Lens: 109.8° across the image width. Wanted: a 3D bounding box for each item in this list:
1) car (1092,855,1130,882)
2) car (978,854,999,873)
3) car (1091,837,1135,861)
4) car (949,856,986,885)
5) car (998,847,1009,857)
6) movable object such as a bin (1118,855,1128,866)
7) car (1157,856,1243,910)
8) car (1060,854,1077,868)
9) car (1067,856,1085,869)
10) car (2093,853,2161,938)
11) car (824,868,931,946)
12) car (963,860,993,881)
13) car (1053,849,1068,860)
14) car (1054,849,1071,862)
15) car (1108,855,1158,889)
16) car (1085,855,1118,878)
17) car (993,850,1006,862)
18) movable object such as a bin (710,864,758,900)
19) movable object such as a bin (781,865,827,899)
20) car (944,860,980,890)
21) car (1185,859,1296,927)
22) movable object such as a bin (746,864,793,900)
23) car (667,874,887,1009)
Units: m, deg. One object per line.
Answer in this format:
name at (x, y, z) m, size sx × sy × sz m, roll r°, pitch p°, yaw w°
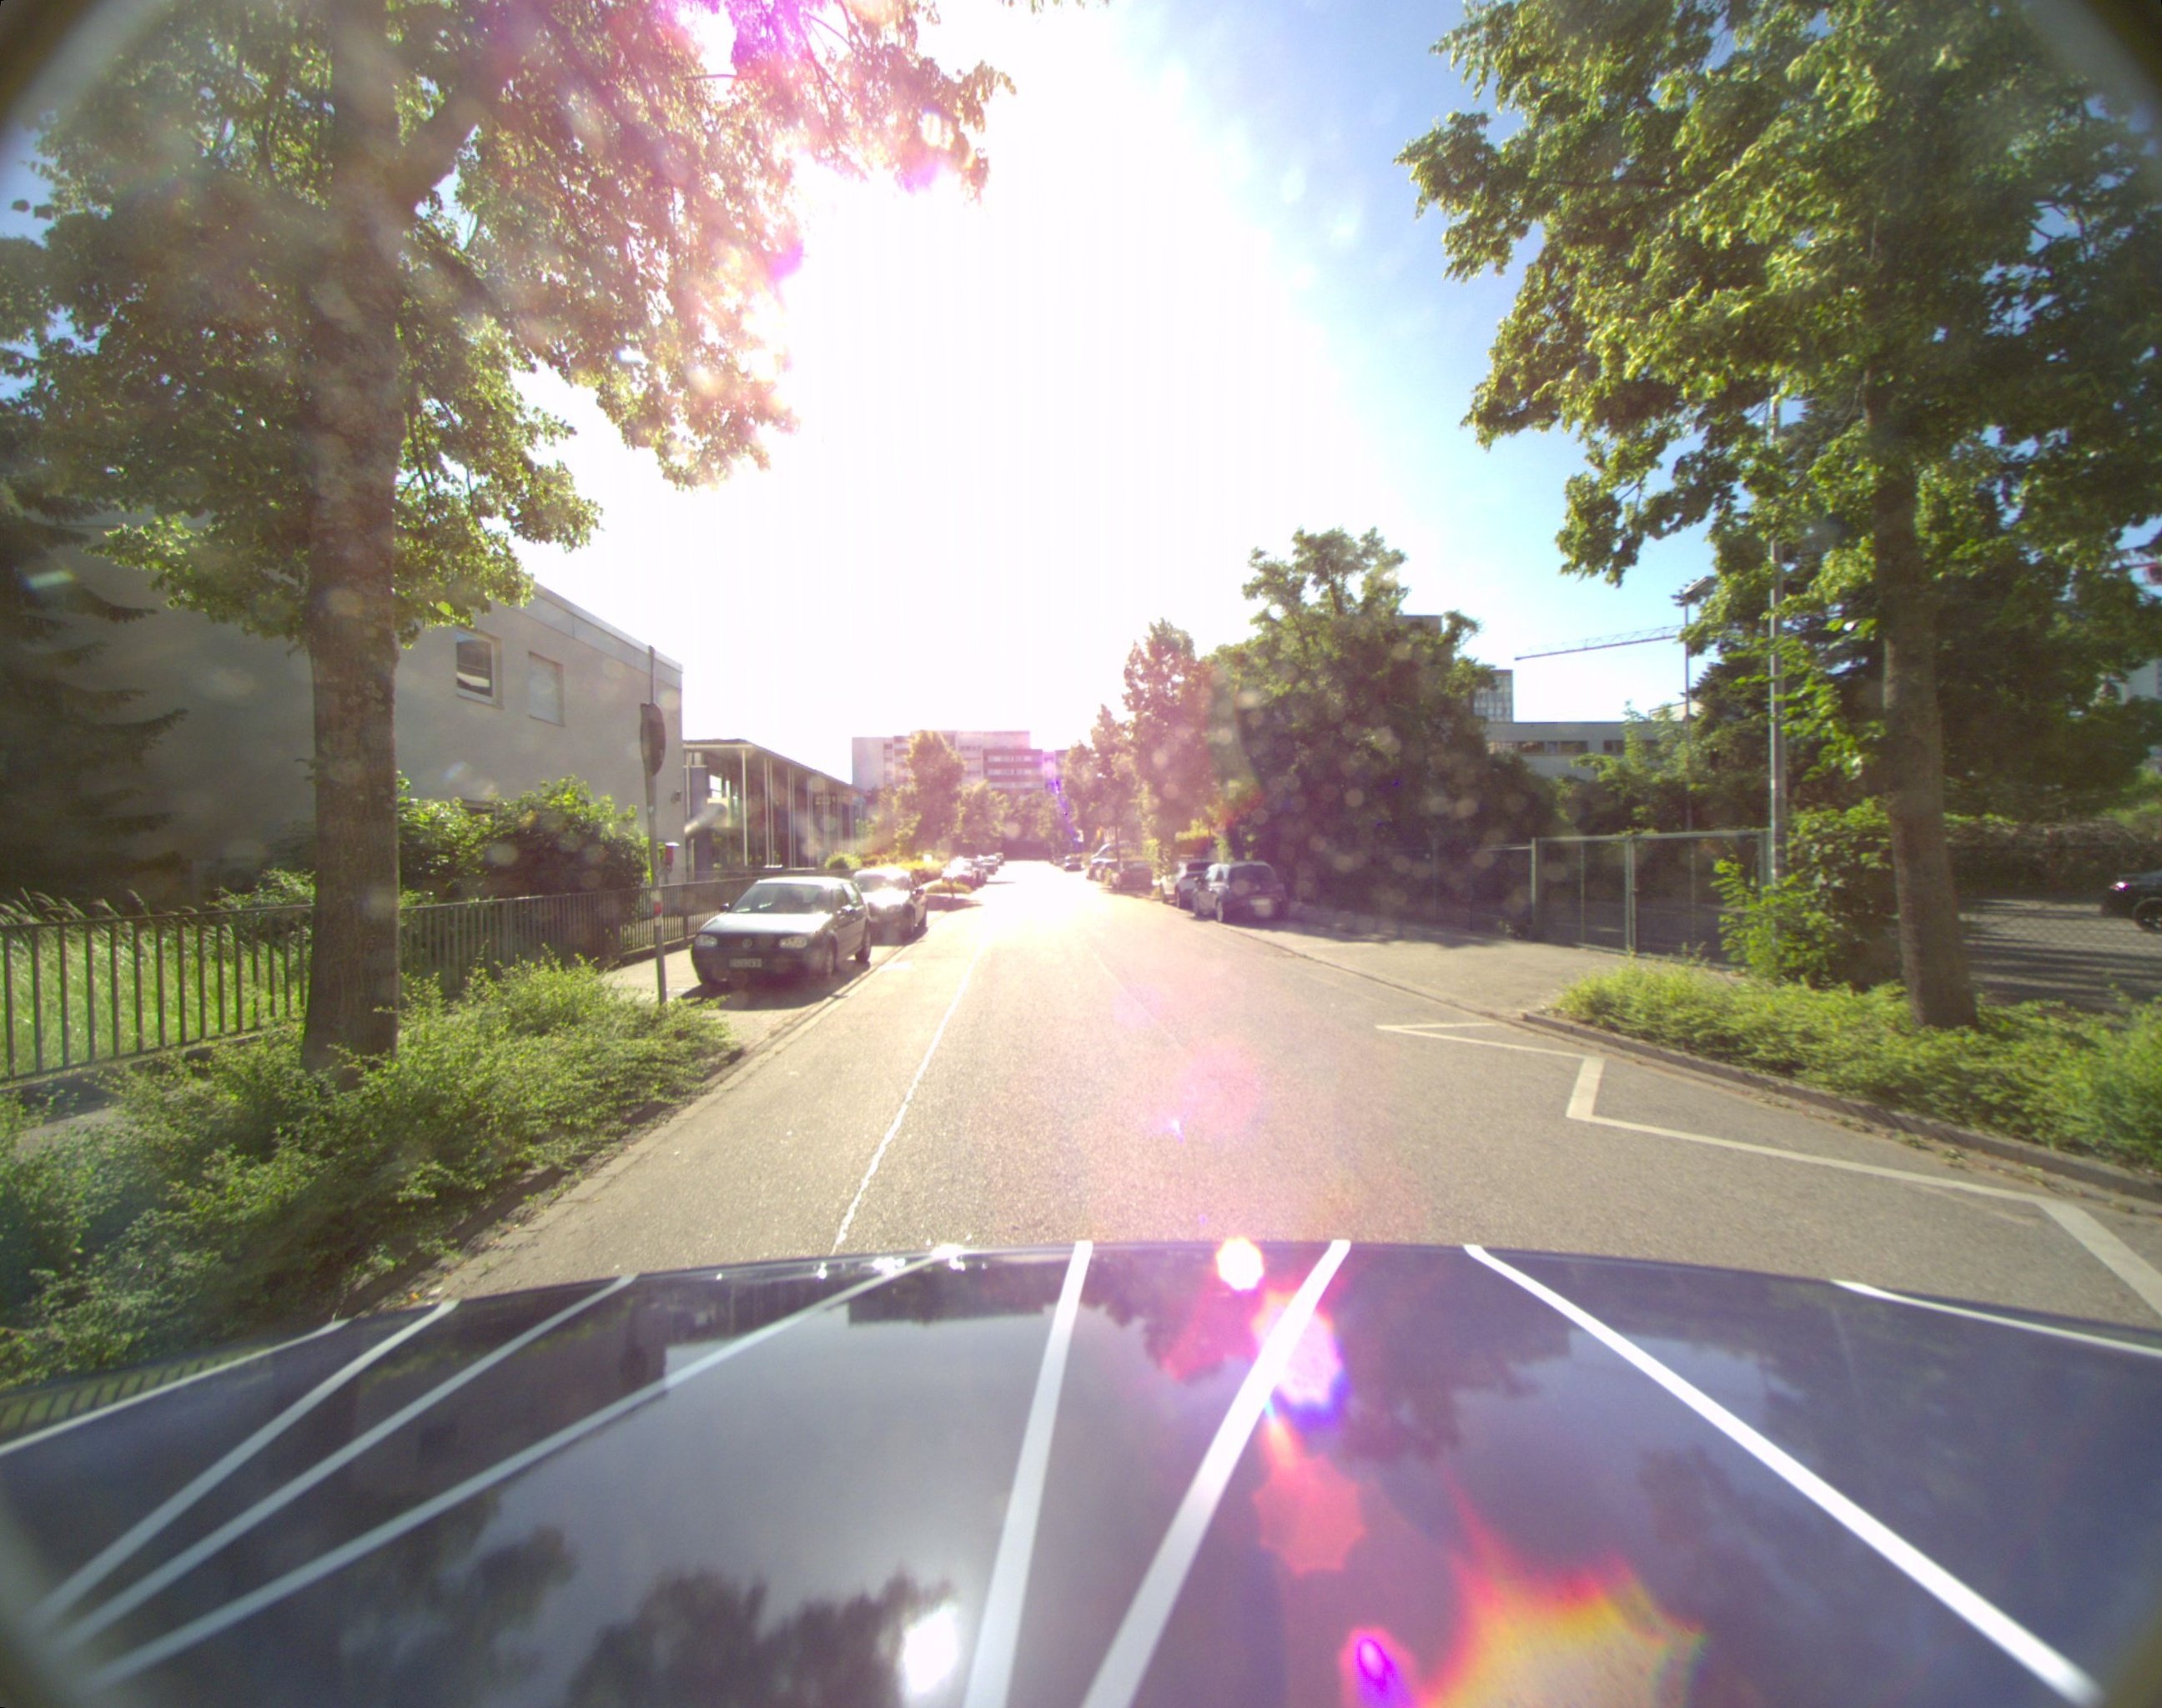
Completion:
car at (1.864, 0.867, 47.862) m, size 1.846 × 1.465 × 4.025 m, roll -3°, pitch 1°, yaw -5°
car at (-8.784, 0.886, 72.533) m, size 1.824 × 1.638 × 4.486 m, roll 2°, pitch 0°, yaw -5°
car at (3.992, -0.584, 94.338) m, size 5.155 × 2.886 × 2.012 m, roll -1°, pitch 1°, yaw -8°
car at (-6.995, 0.978, 47.317) m, size 1.905 × 1.673 × 4.409 m, roll 0°, pitch 1°, yaw -4°
car at (-12.115, -0.307, 118.701) m, size 1.645 × 1.458 × 3.700 m, roll 2°, pitch 2°, yaw -5°
movable object such as a bin at (4.147, 0.613, 75.402) m, size 0.862 × 1.032 × 0.677 m, roll -4°, pitch 1°, yaw -7°
car at (3.804, 0.889, 24.974) m, size 1.846 × 1.465 × 4.000 m, roll -3°, pitch 1°, yaw -5°
car at (-1.385, 0.740, 83.470) m, size 1.632 × 1.515 × 3.561 m, roll -1°, pitch 0°, yaw -5°
car at (-0.512, 0.869, 77.480) m, size 1.631 × 1.240 × 3.561 m, roll -1°, pitch 0°, yaw -4°
car at (19.916, 0.720, 12.005) m, size 1.971 × 1.447 × 4.373 m, roll -1°, pitch 0°, yaw -2°
car at (-4.612, 1.142, 17.795) m, size 1.789 × 1.507 × 3.998 m, roll -1°, pitch 0°, yaw -6°
car at (-7.371, 1.147, 54.403) m, size 1.969 × 1.312 × 4.772 m, roll 1°, pitch 0°, yaw -8°
car at (-3.065, 0.035, 111.714) m, size 1.796 × 1.509 × 3.887 m, roll -2°, pitch 1°, yaw -7°
car at (-2.551, 0.156, 102.911) m, size 1.796 × 1.590 × 3.887 m, roll -2°, pitch 1°, yaw -7°
car at (2.562, 0.866, 38.338) m, size 1.846 × 1.465 × 4.357 m, roll -3°, pitch 1°, yaw -5°
car at (1.424, 0.871, 54.078) m, size 1.846 × 1.465 × 4.097 m, roll -3°, pitch 1°, yaw -5°
car at (-11.445, 0.237, 106.437) m, size 1.645 × 1.458 × 3.700 m, roll 2°, pitch 2°, yaw -5°
movable object such as a bin at (-14.628, 1.175, 32.079) m, size 1.334 × 1.440 × 1.631 m, roll -1°, pitch 1°, yaw -4°
movable object such as a bin at (-11.746, 1.171, 32.275) m, size 1.370 × 1.350 × 1.631 m, roll -1°, pitch 1°, yaw -4°
car at (-6.526, 1.122, 41.867) m, size 1.680 × 1.495 × 3.844 m, roll -1°, pitch 0°, yaw -5°
car at (4.036, 0.939, 19.797) m, size 1.723 × 1.465 × 3.544 m, roll -3°, pitch 1°, yaw -6°
movable object such as a bin at (-13.179, 1.152, 32.215) m, size 1.370 × 1.440 × 1.631 m, roll -1°, pitch 1°, yaw -4°
car at (-4.289, 1.126, 11.545) m, size 1.751 × 1.414 × 4.422 m, roll -2°, pitch 1°, yaw -4°
